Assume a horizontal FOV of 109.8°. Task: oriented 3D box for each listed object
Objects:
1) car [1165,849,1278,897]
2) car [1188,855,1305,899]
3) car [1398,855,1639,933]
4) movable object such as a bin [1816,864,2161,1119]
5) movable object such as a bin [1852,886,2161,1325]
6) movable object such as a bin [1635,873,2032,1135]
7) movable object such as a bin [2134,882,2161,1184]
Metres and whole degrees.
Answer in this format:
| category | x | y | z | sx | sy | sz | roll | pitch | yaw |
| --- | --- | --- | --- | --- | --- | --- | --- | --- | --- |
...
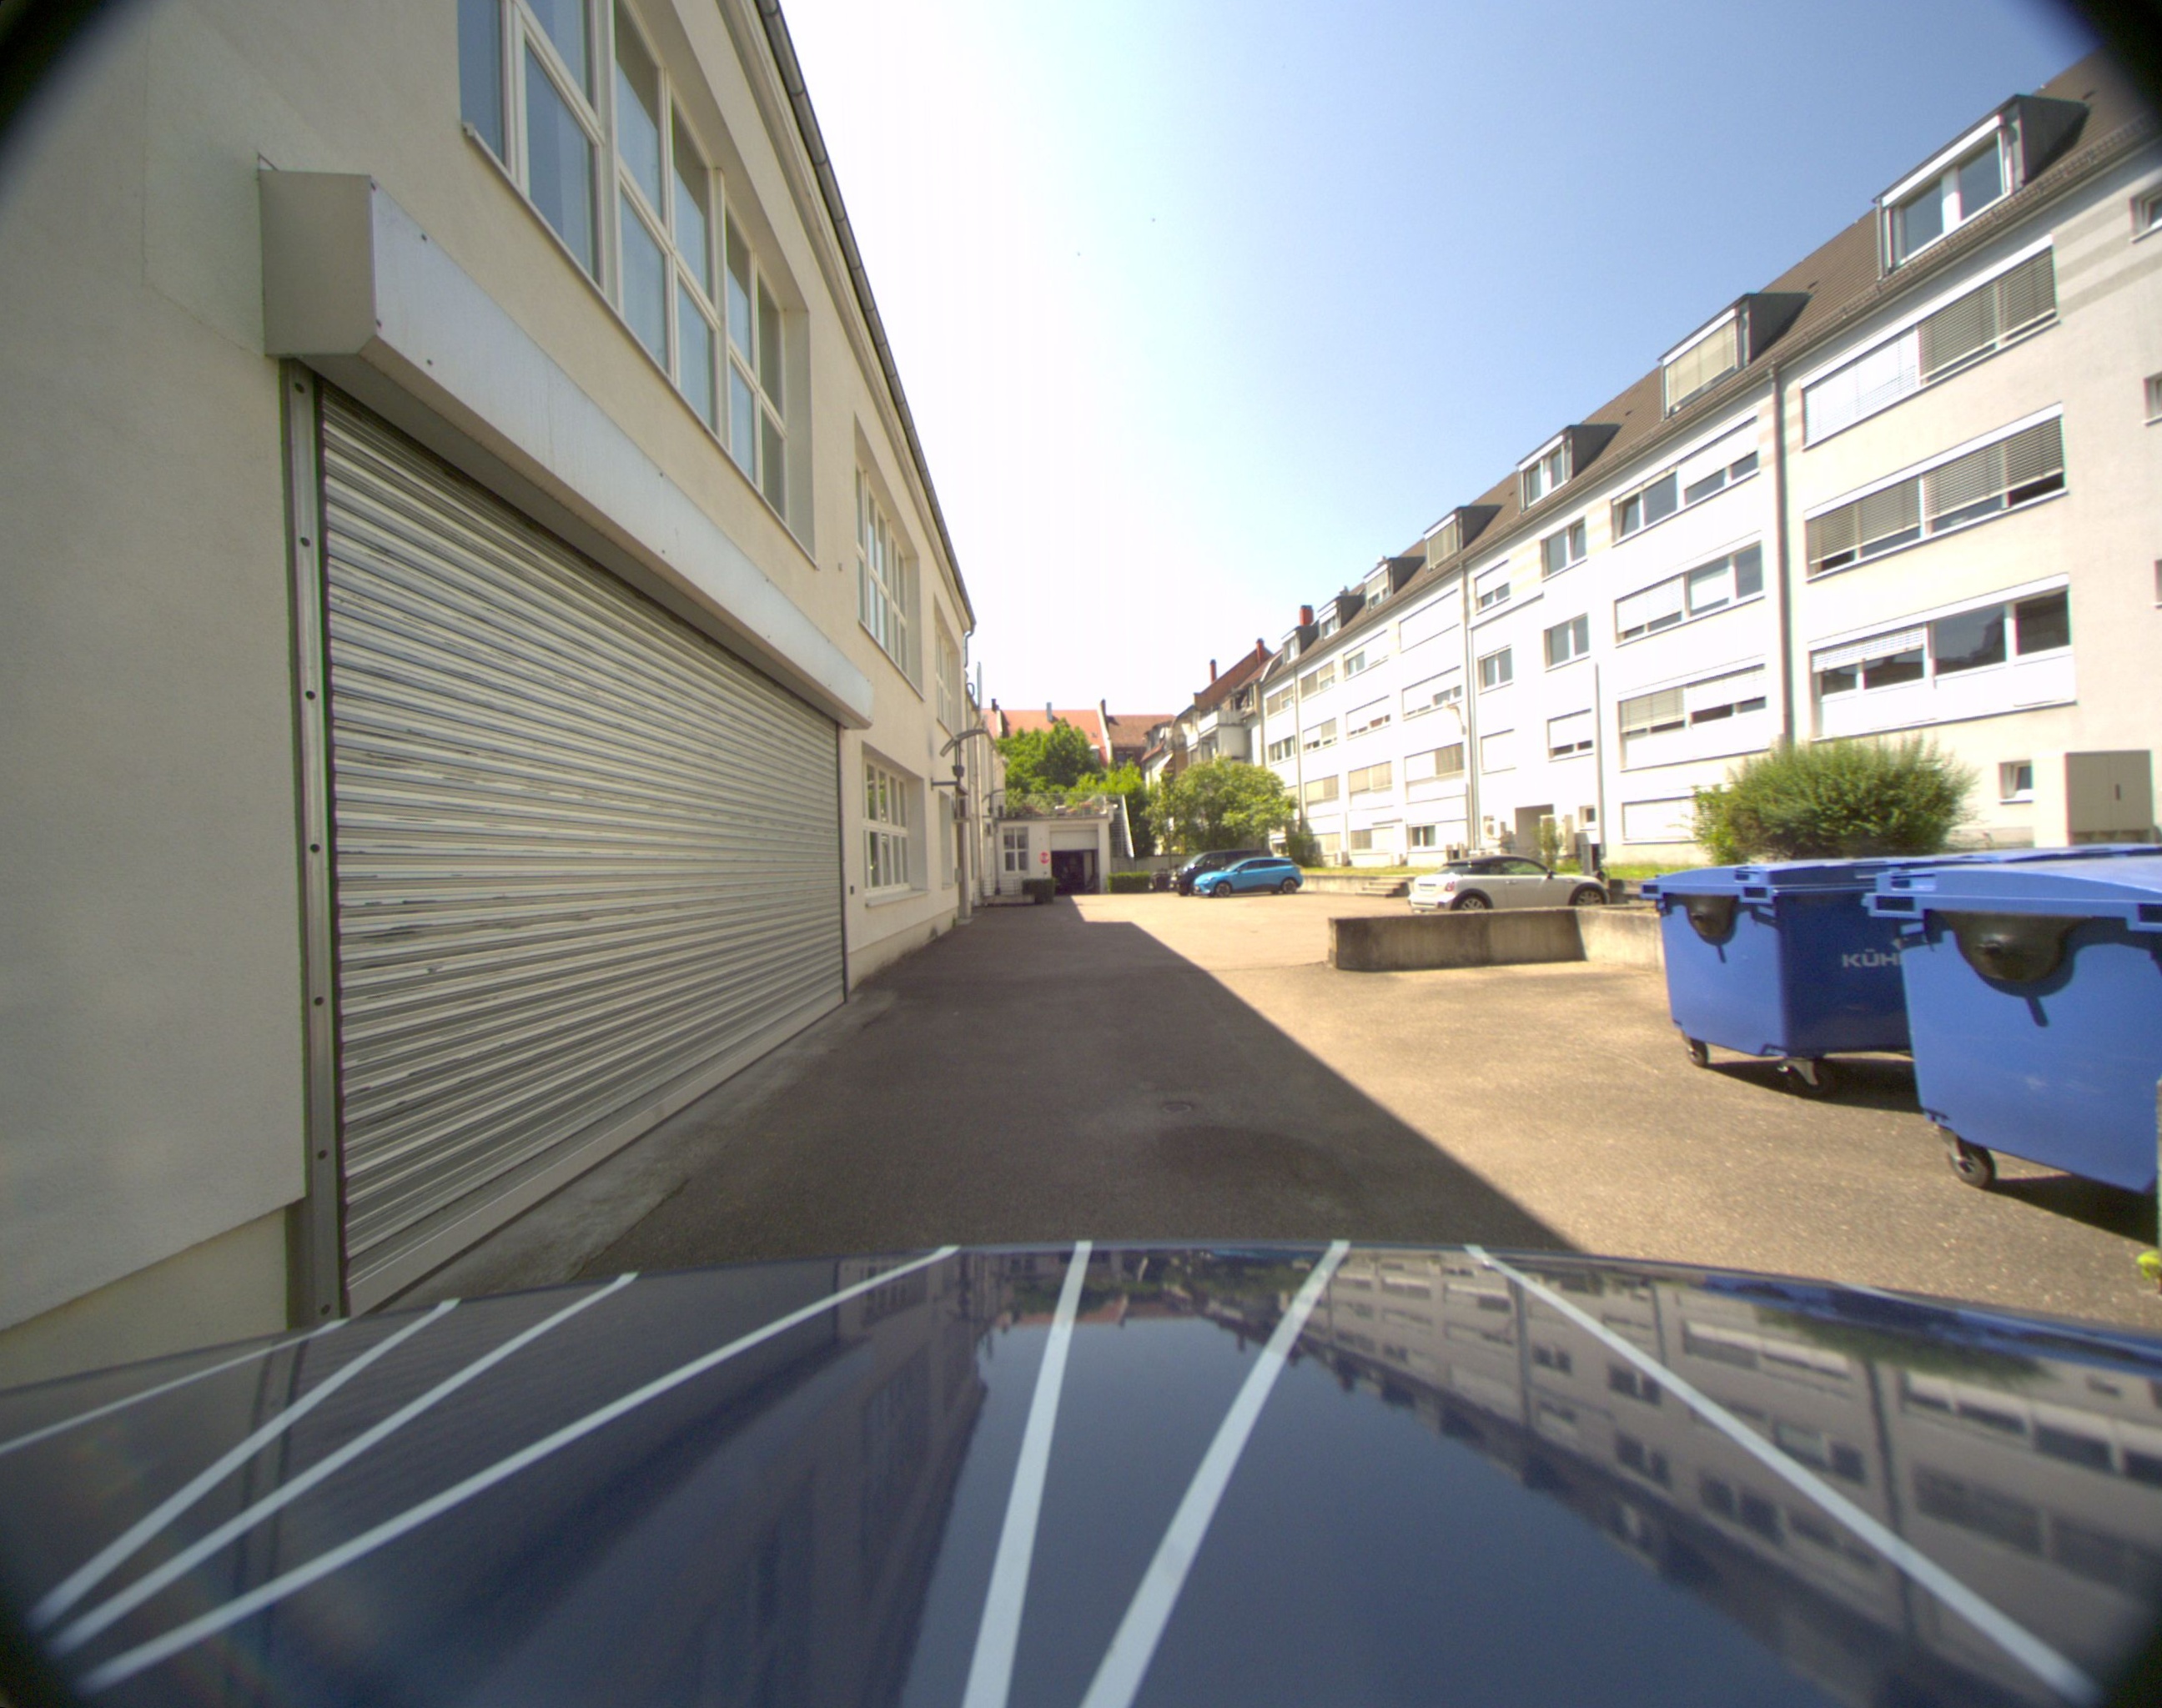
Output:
| category | x | y | z | sx | sy | sz | roll | pitch | yaw |
| --- | --- | --- | --- | --- | --- | --- | --- | --- | --- |
| car | 6.080 | 0.799 | 33.170 | 4.450 | 1.821 | 1.999 | -2 | 0 | -5 |
| car | 6.599 | 0.896 | 30.526 | 4.169 | 1.544 | 1.858 | -2 | 0 | -7 |
| car | 8.817 | 0.767 | 15.495 | 3.999 | 1.428 | 1.710 | -1 | 0 | -6 |
| movable object such as a bin | 5.710 | 0.751 | 4.677 | 1.257 | 1.320 | 1.104 | -2 | 0 | -2 |
| movable object such as a bin | 4.034 | 0.819 | 2.787 | 1.257 | 1.320 | 1.104 | -2 | 0 | -2 |
| movable object such as a bin | 4.401 | 0.805 | 4.582 | 1.257 | 1.320 | 1.104 | -2 | 0 | -2 |
| movable object such as a bin | 5.354 | 0.758 | 2.851 | 1.257 | 1.320 | 1.104 | -2 | 0 | -2 |
